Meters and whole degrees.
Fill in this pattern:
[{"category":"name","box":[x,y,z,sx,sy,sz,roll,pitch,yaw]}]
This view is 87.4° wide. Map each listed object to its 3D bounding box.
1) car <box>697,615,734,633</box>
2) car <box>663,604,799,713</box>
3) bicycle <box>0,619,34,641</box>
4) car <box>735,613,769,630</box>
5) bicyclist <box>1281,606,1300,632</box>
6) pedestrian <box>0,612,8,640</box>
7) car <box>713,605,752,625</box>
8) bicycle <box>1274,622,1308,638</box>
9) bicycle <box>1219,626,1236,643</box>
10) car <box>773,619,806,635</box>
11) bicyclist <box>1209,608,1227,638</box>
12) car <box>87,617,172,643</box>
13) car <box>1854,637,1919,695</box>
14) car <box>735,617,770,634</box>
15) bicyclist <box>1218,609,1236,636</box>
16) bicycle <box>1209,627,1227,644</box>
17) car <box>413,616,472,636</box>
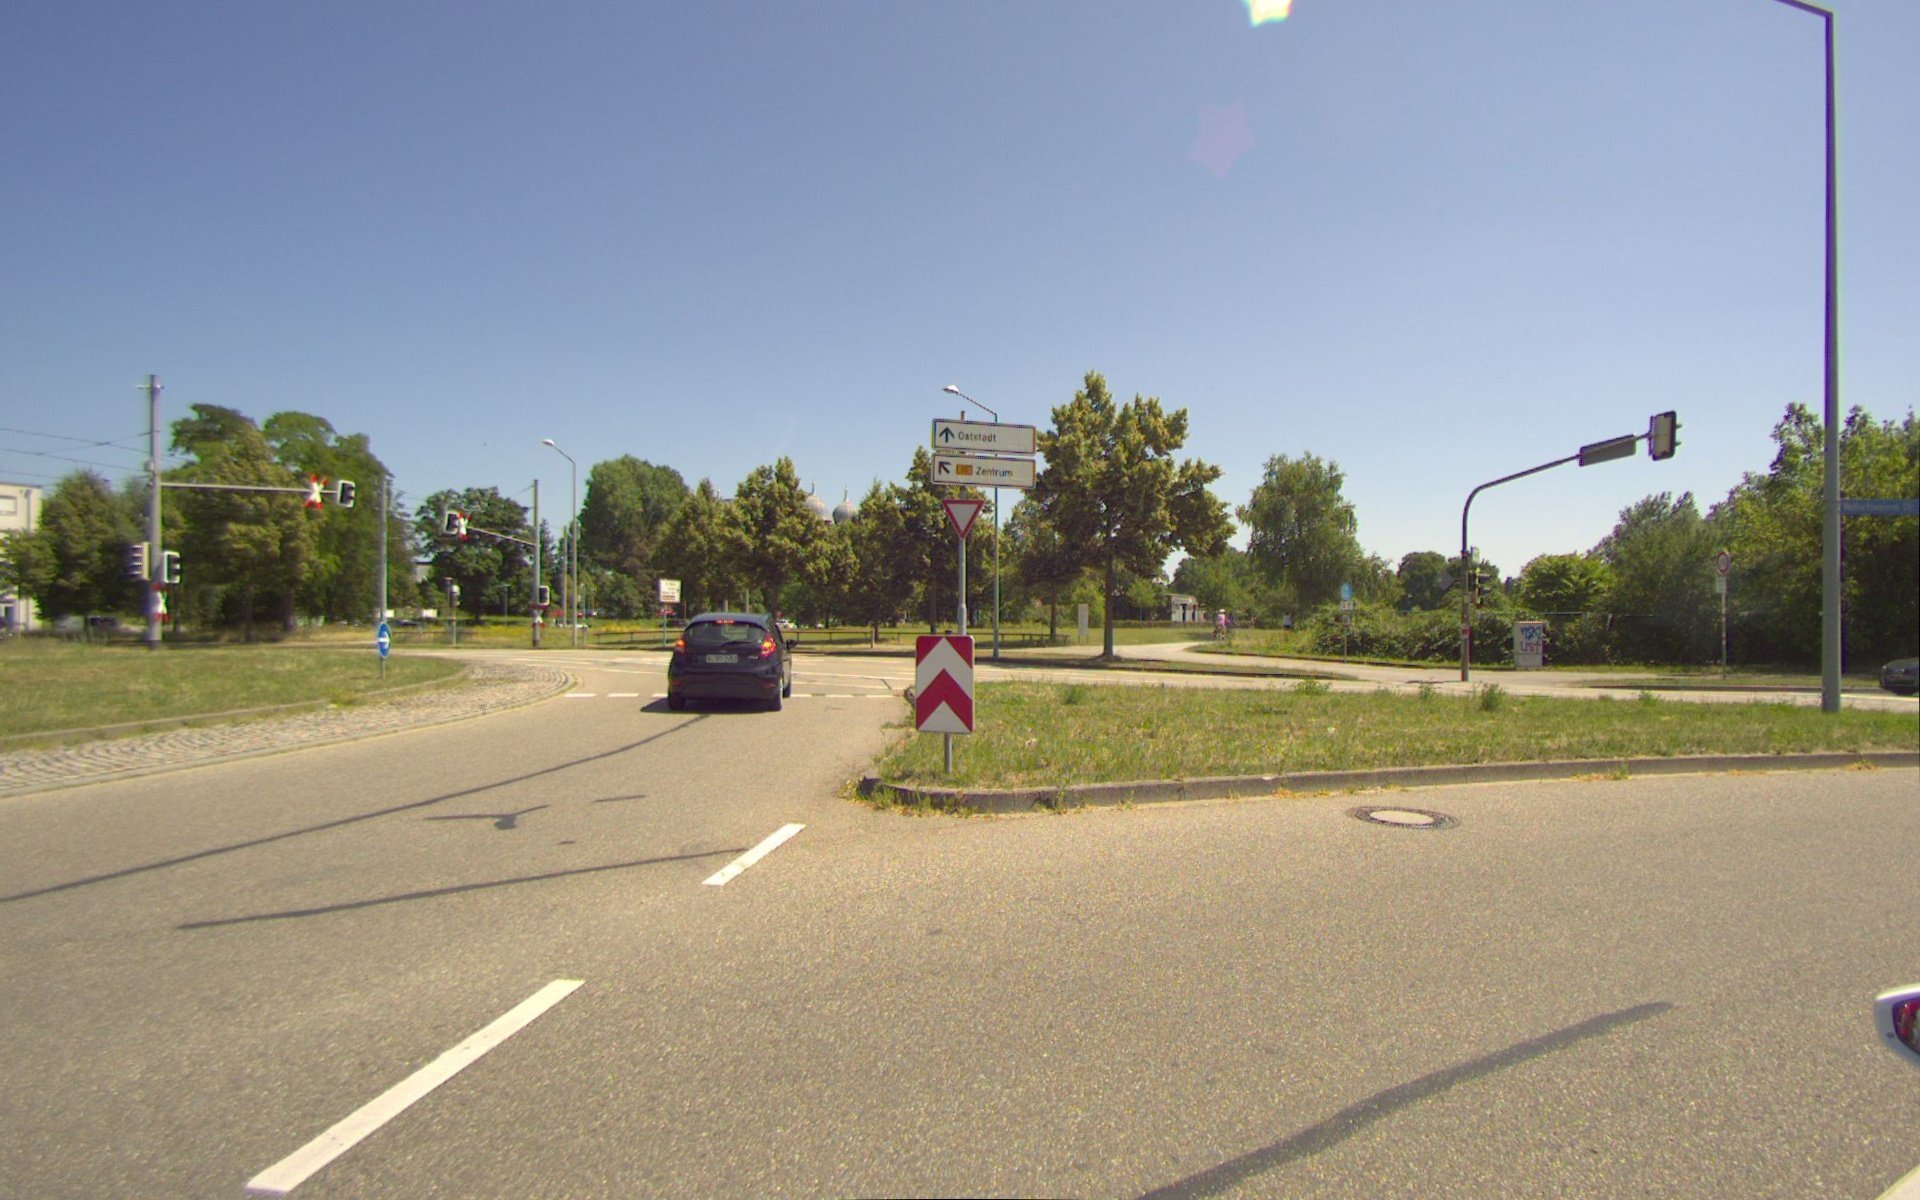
[{"category":"car","box":[-29.106,2.881,119.599,3.923,2.040,1.999,1,-2,-4]},{"category":"car","box":[-3.550,0.887,16.155,1.603,1.527,3.817,0,-2,-5]},{"category":"bicycle","box":[-49.928,1.551,52.609,2.045,1.129,0.720,3,-3,-44]},{"category":"car","box":[-26.297,2.764,127.135,3.923,2.040,1.999,1,-2,-4]},{"category":"bicyclist","box":[21.002,1.227,63.774,0.971,1.635,0.747,3,-3,-42]},{"category":"pedestrian","box":[-50.177,1.337,52.330,0.813,1.469,0.700,3,-3,-45]},{"category":"car","box":[-25.640,1.694,113.229,3.923,2.040,1.999,1,-2,-4]},{"category":"bicycle","box":[21.016,1.927,63.756,2.907,0.924,0.732,3,-3,-41]},{"category":"bicycle","box":[15.845,2.040,59.452,0.881,0.912,1.762,1,1,18]},{"category":"car","box":[-22.368,3.517,132.141,3.920,2.040,2.001,1,-2,3]},{"category":"bicyclist","box":[14.234,1.263,55.435,0.940,1.631,1.187,0,-2,13]},{"category":"car","box":[-55.655,2.037,67.380,1.967,1.706,3.988,-1,-3,35]},{"category":"car","box":[24.085,1.544,23.733,4.321,1.287,1.864,0,-1,-1]},{"category":"car","box":[-25.755,3.149,124.719,3.923,2.040,1.999,1,-2,-4]},{"category":"bicyclist","box":[15.842,1.313,59.549,0.941,1.552,1.186,0,0,18]},{"category":"bicycle","box":[14.234,1.949,55.450,0.880,0.912,2.228,1,-2,13]},{"category":"car","box":[-43.907,2.220,85.280,3.926,1.594,1.998,1,-2,-7]}]
